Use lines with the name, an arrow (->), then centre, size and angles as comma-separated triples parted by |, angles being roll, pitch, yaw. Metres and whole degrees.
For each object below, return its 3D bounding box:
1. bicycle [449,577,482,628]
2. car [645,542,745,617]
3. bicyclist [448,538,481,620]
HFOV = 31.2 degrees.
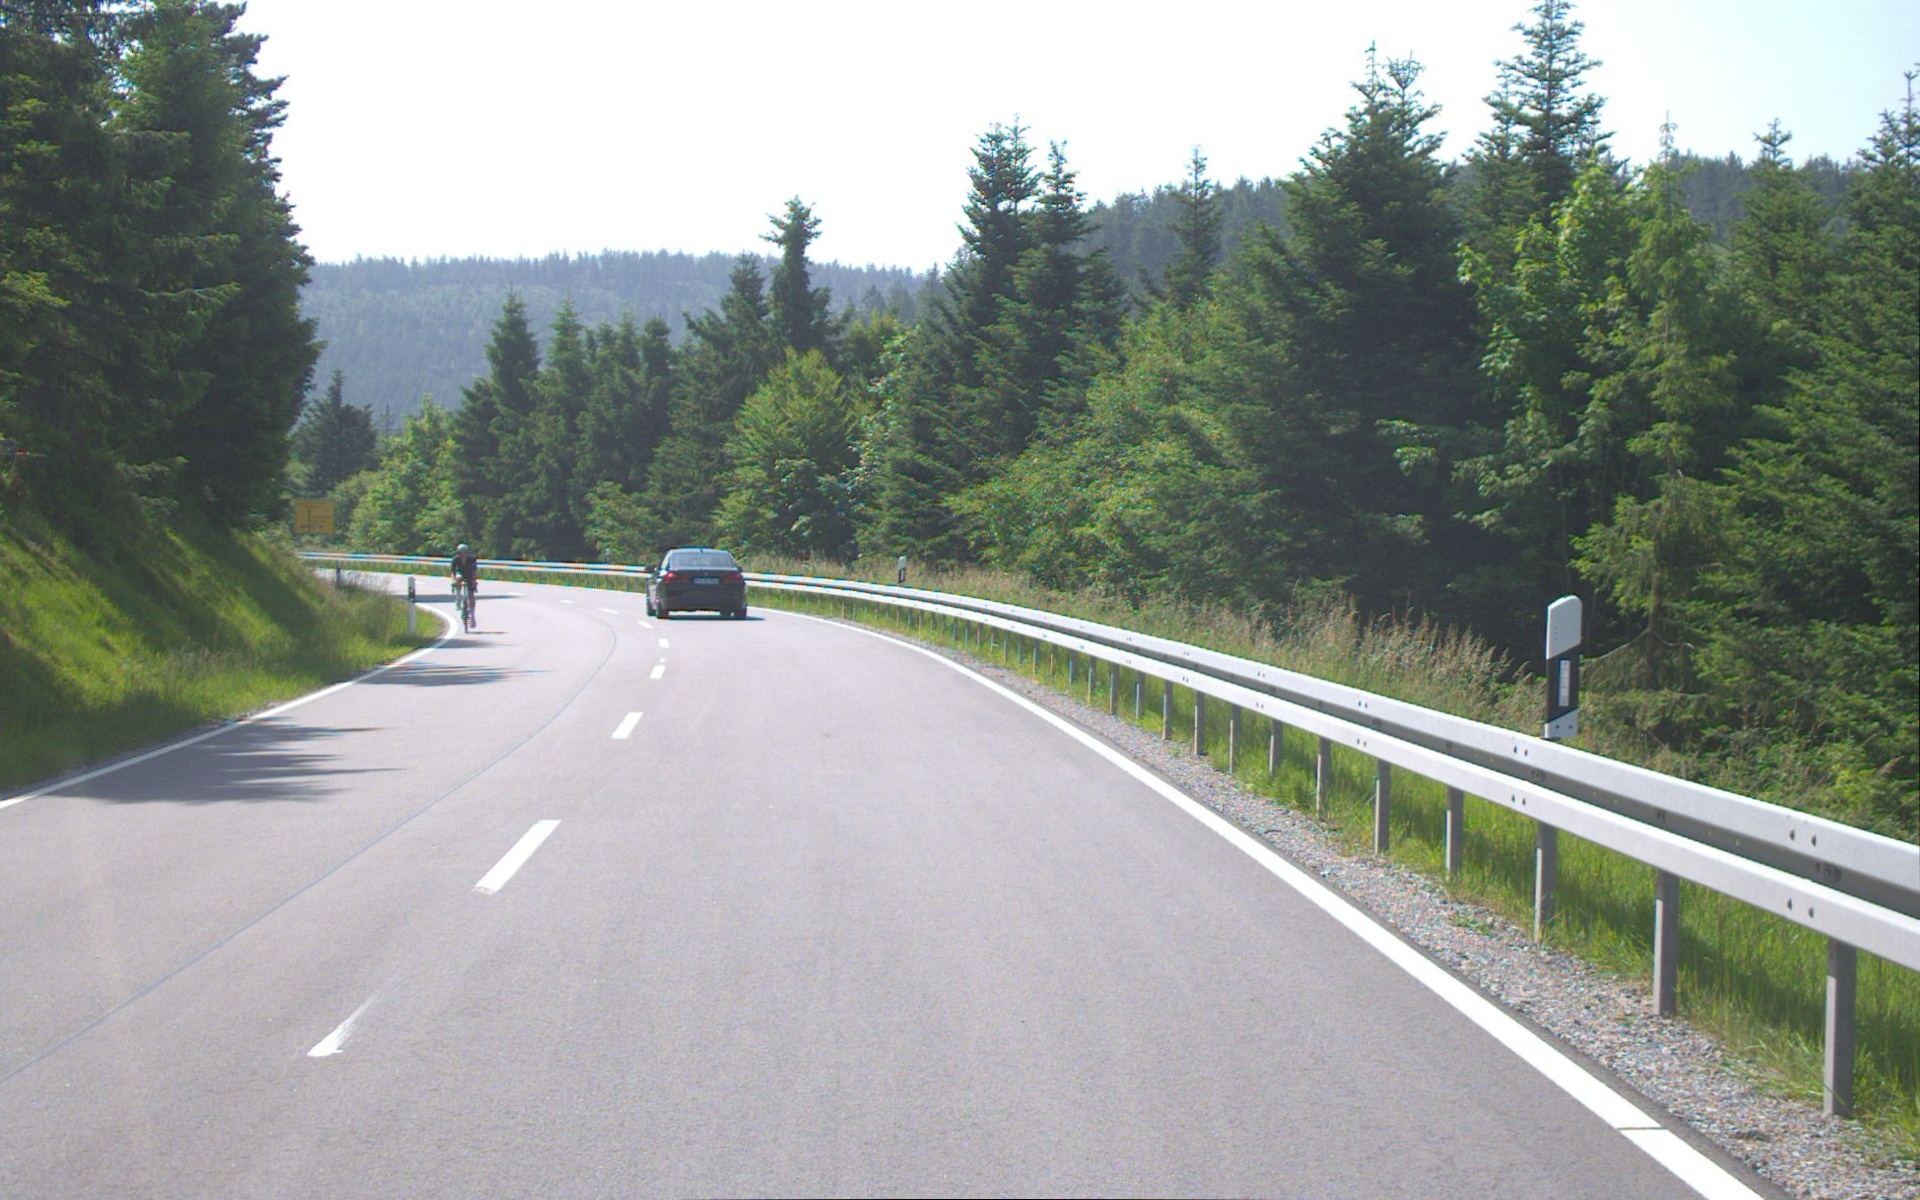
bicycle -> -8.941, 0.040, 62.158 | 0.553, 0.883, 2.063 | -1, 1, -8
car -> -5.408, -0.438, 69.782 | 1.775, 1.437, 3.710 | -1, 1, -8
bicyclist -> -8.941, -0.386, 62.040 | 0.541, 1.446, 0.984 | -1, 1, -8
